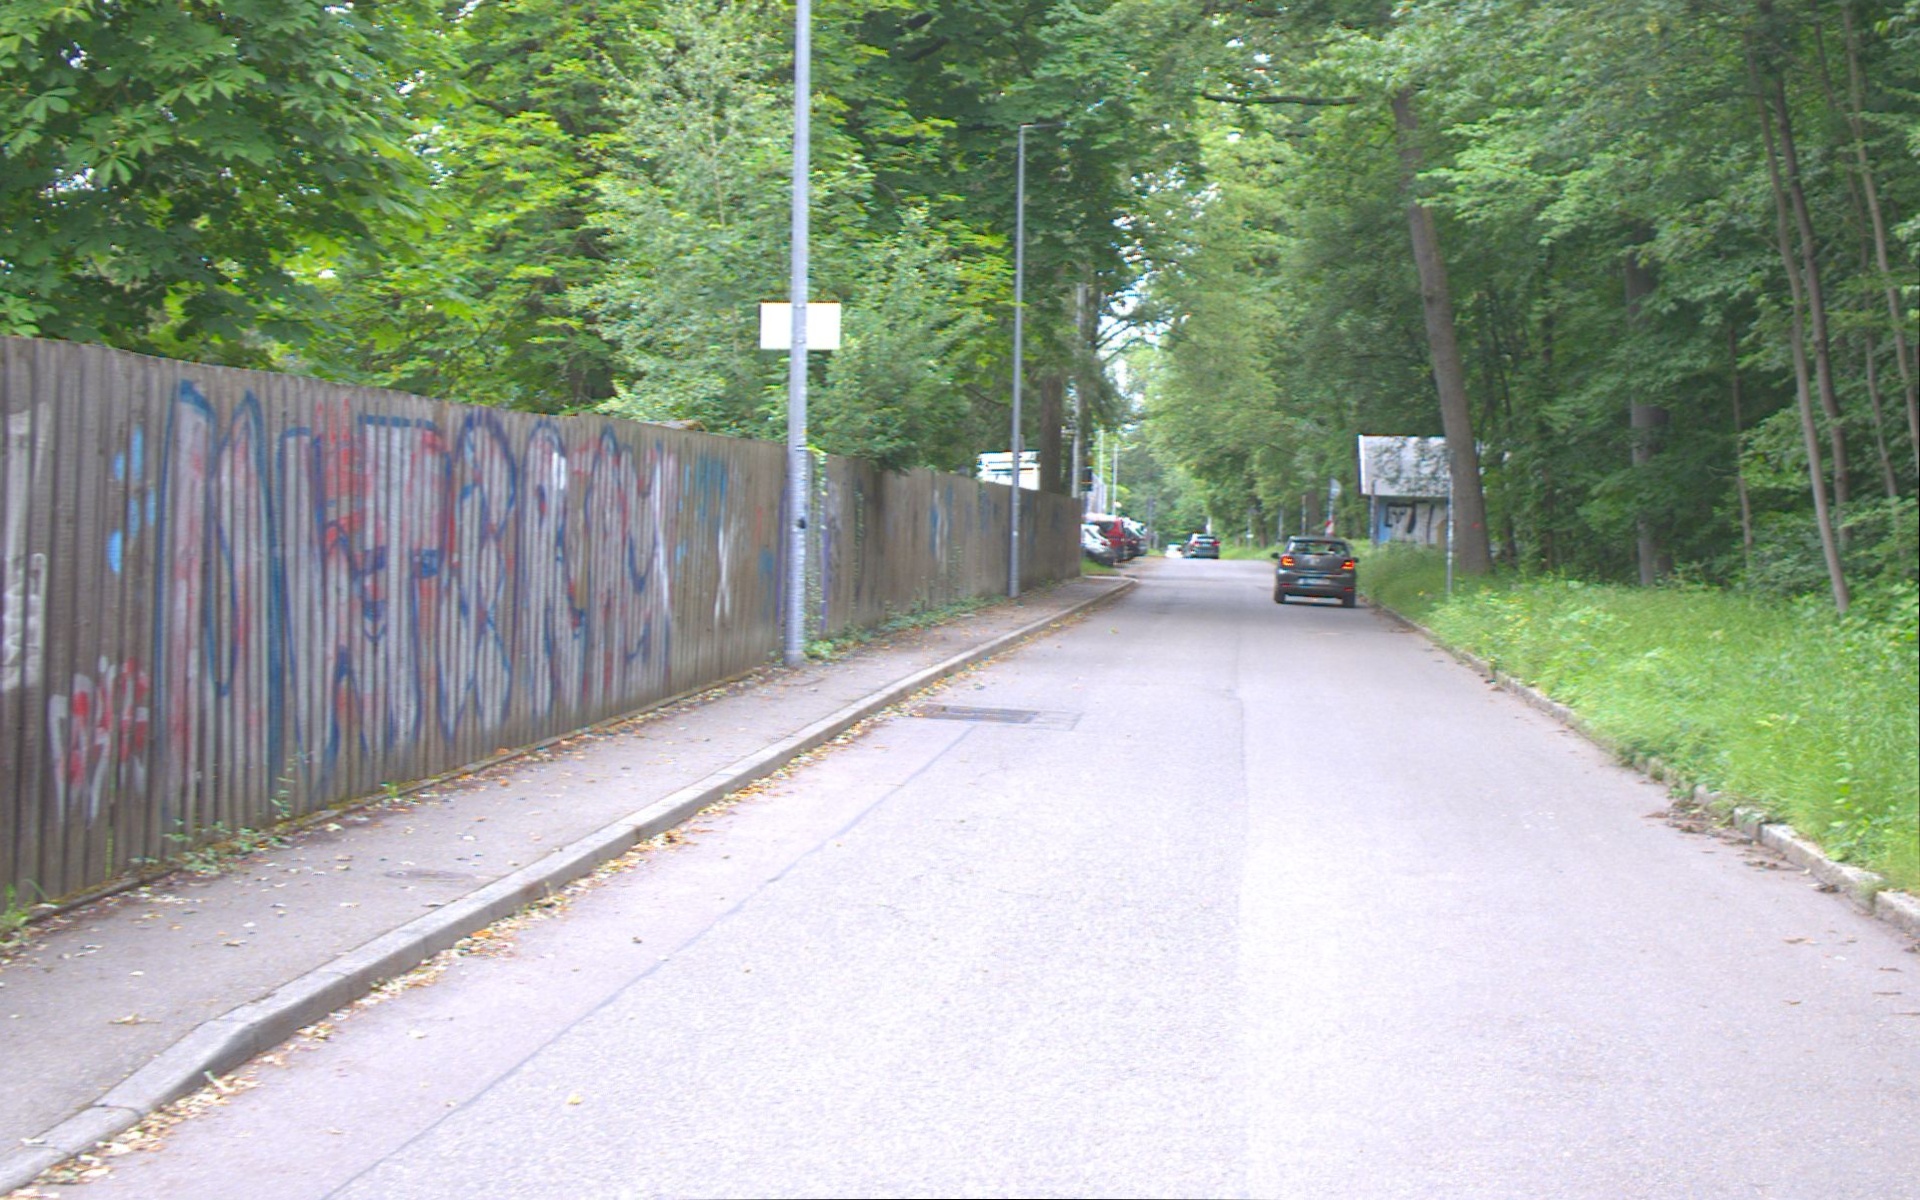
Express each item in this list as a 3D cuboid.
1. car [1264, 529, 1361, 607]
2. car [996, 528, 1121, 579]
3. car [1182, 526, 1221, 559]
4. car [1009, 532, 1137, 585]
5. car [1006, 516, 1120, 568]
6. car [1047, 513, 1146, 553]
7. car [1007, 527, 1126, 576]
[{"bbox_3d":[7.477,-0.680,72.975,1.908,1.503,3.999,4,1,6],"label":"car"},{"bbox_3d":[3.177,-1.500,111.111,3.987,1.568,2.000,1,1,1],"label":"car"},{"bbox_3d":[14.649,-3.494,208.485,1.993,2.007,4.000,1,1,-1],"label":"car"},{"bbox_3d":[3.559,-1.317,108.736,3.987,1.568,2.000,1,1,1],"label":"car"},{"bbox_3d":[3.636,-2.070,121.816,3.987,1.744,2.000,1,1,1],"label":"car"},{"bbox_3d":[5.589,-2.744,140.383,3.987,1.590,1.764,0,0,5],"label":"car"},{"bbox_3d":[3.614,-1.639,116.718,3.987,1.568,2.000,1,1,1],"label":"car"}]
